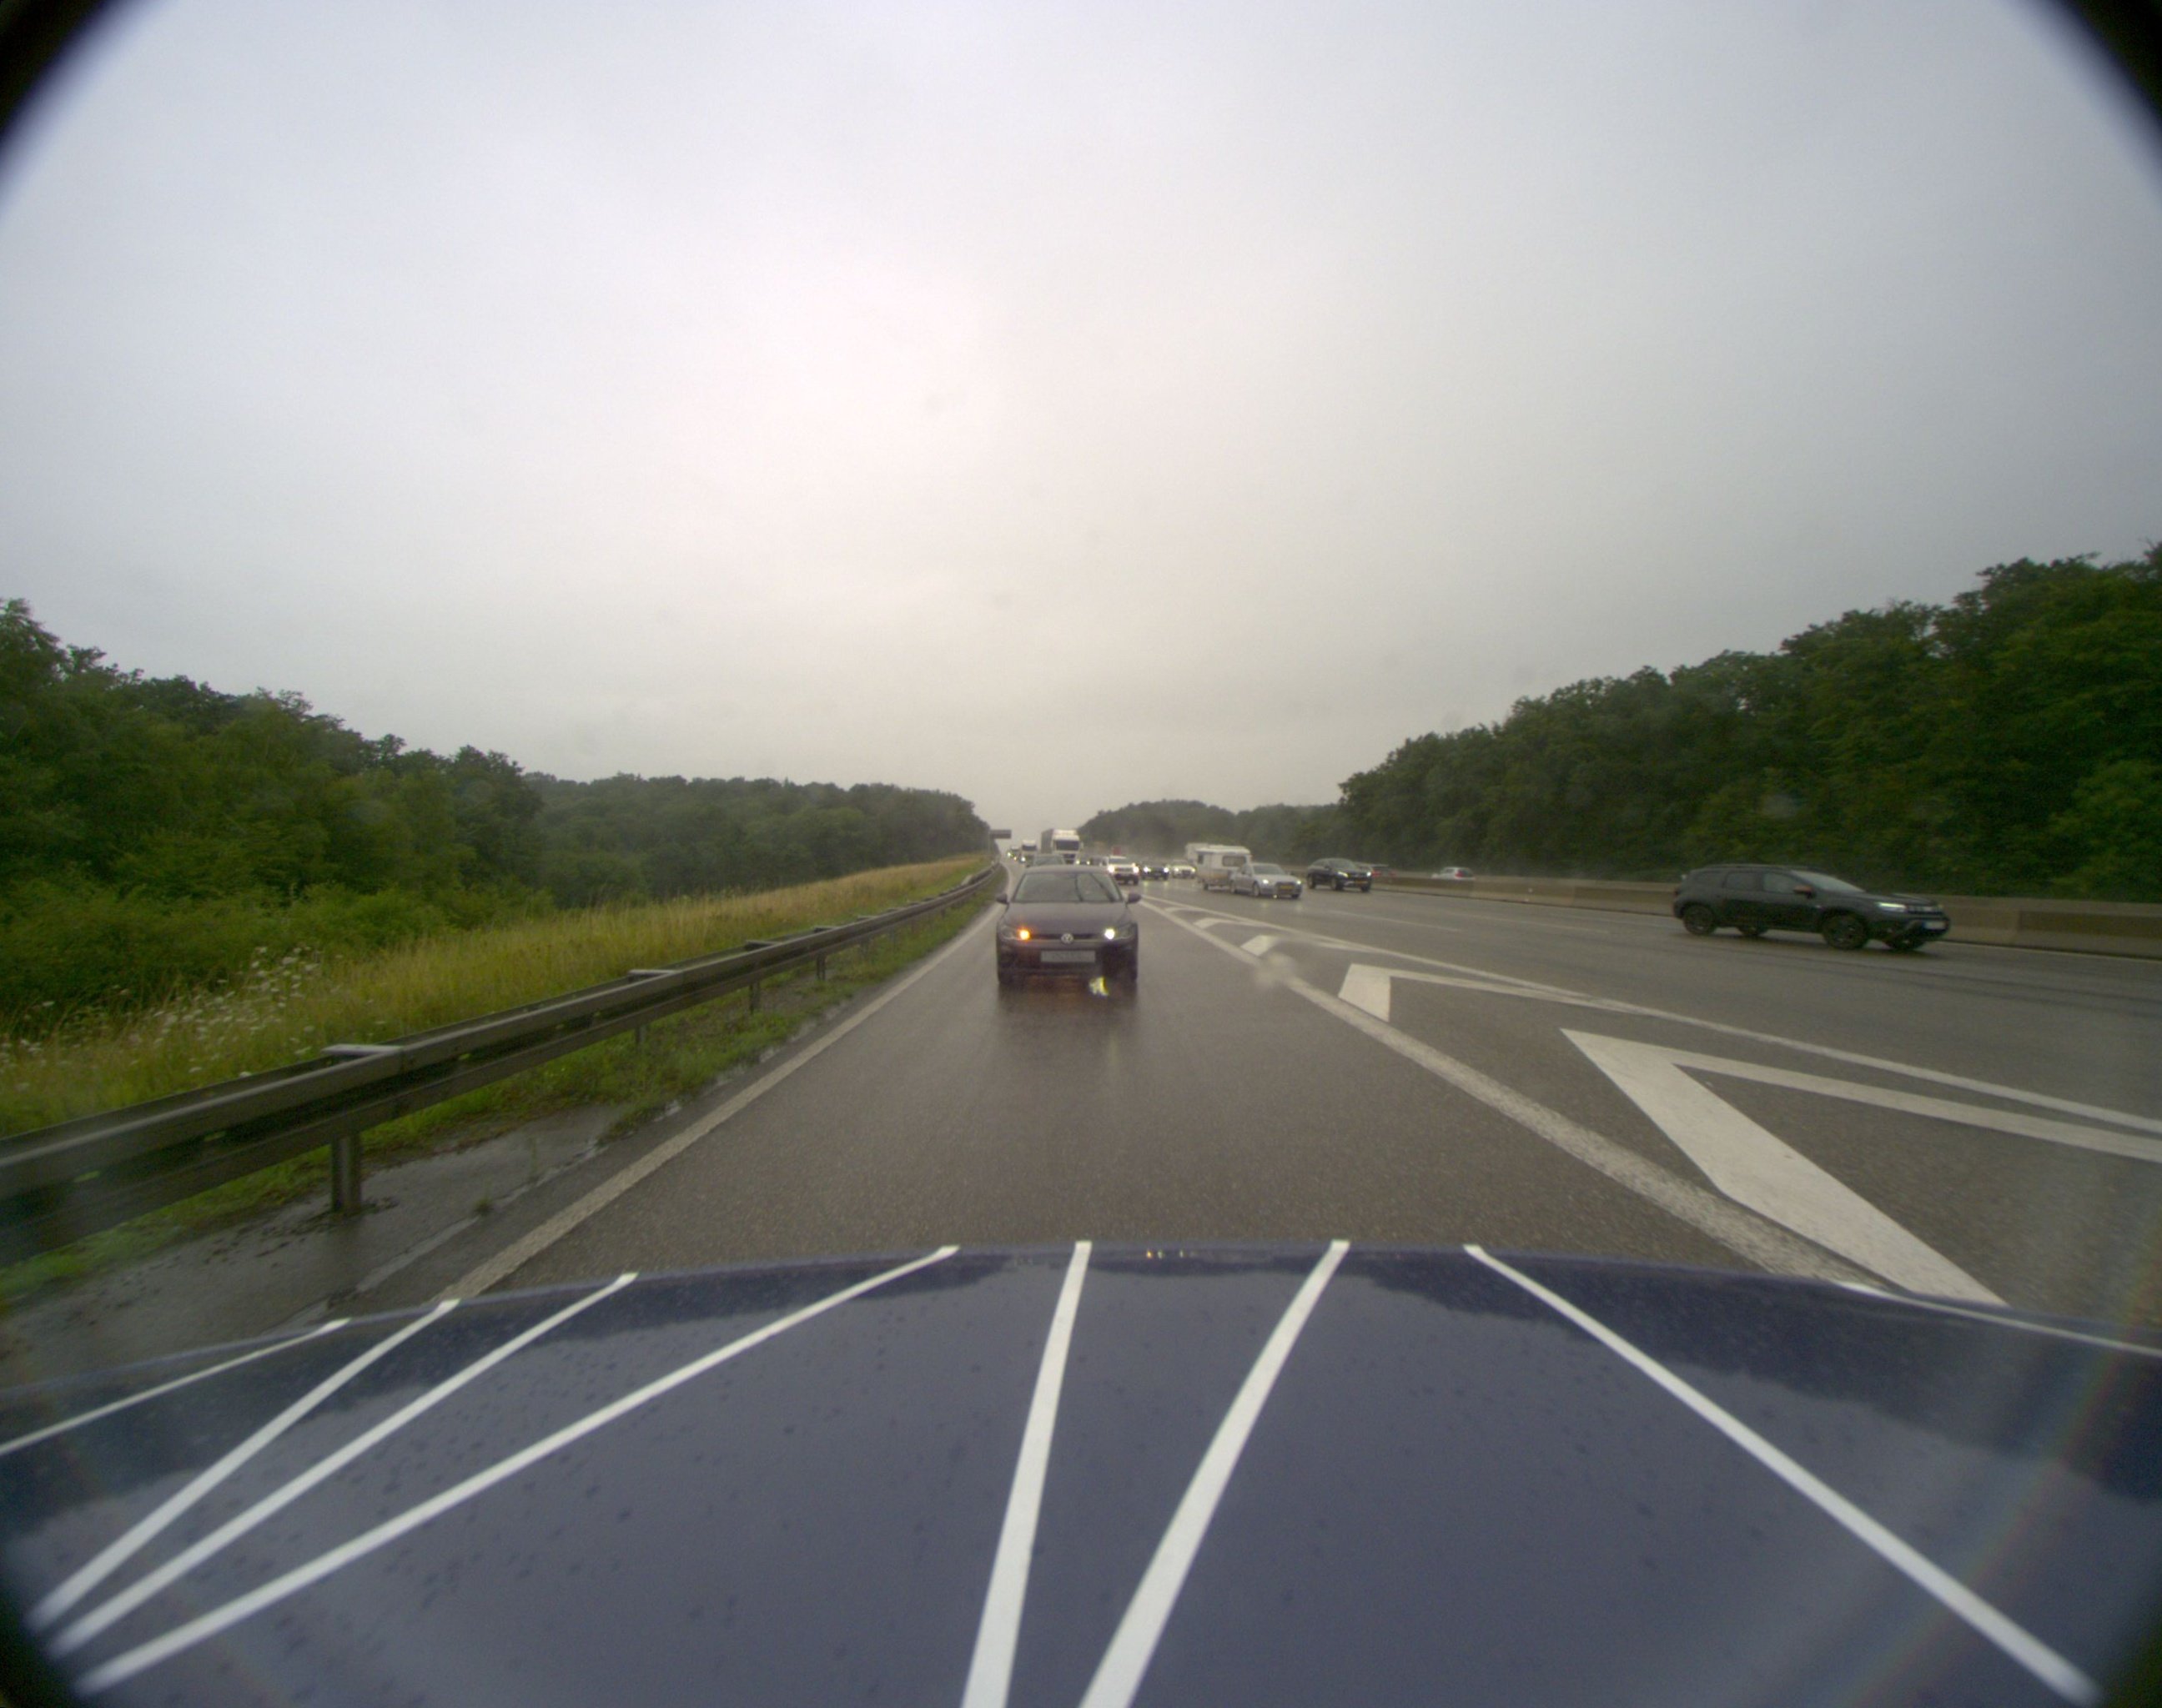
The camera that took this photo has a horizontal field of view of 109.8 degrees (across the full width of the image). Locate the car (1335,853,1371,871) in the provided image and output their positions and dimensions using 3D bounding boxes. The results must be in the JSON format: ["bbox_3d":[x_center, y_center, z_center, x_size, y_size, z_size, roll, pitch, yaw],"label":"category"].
[{"bbox_3d":[27.930,0.786,78.146,1.691,1.739,3.996,0,0,-10],"label":"car"}]

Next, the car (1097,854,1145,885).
[{"bbox_3d":[2.209,0.835,43.014,1.792,1.577,4.320,2,0,-9],"label":"car"}]

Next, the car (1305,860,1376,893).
[{"bbox_3d":[14.050,1.197,41.458,1.710,1.566,4.521,2,0,-9],"label":"car"}]

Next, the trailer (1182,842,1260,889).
[{"bbox_3d":[6.878,0.536,38.066,2.136,2.143,5.175,2,0,-9],"label":"trailer"}]

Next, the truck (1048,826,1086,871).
[{"bbox_3d":[-1.382,-0.511,72.738,2.882,4.029,5.930,1,0,-8],"label":"truck"}]

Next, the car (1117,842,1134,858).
[{"bbox_3d":[12.863,-1.108,222.738,3.657,4.633,7.564,1,0,-7],"label":"car"}]

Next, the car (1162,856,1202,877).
[{"bbox_3d":[7.917,0.957,60.002,1.886,1.472,4.499,1,0,-8],"label":"car"}]

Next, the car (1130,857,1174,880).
[{"bbox_3d":[4.941,0.980,53.643,1.887,1.472,4.497,1,0,-11],"label":"car"}]

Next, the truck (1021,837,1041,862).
[{"bbox_3d":[-8.584,-0.743,130.107,2.759,3.984,6.503,2,0,-9],"label":"truck"}]

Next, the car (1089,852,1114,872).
[{"bbox_3d":[1.996,0.776,75.578,2.000,2.002,3.997,1,0,-6],"label":"car"}]

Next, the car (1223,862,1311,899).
[{"bbox_3d":[7.633,1.045,31.699,1.852,1.340,4.578,2,0,-9],"label":"car"}]

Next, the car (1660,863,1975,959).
[{"bbox_3d":[15.184,1.077,16.091,1.932,1.653,4.454,2,0,-12],"label":"car"}]

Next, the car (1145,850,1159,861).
[{"bbox_3d":[14.085,0.287,151.437,1.999,2.002,4.663,0,0,-5],"label":"car"}]

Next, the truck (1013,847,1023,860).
[{"bbox_3d":[-20.356,-0.071,245.802,2.597,4.120,5.230,-2,0,-2],"label":"truck"}]

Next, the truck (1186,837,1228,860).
[{"bbox_3d":[21.800,-0.904,132.778,3.157,3.643,15.200,0,0,-6],"label":"truck"}]

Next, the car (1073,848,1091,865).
[{"bbox_3d":[0.099,0.270,92.989,1.816,2.002,3.998,1,0,-5],"label":"car"}]

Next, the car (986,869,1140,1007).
[{"bbox_3d":[-0.184,0.989,10.675,1.670,1.394,4.261,-3,0,0],"label":"car"}]

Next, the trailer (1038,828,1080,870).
[{"bbox_3d":[-2.511,-0.485,80.782,2.904,3.959,14.107,1,0,-8],"label":"trailer"}]

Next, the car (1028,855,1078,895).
[{"bbox_3d":[-1.167,0.873,33.514,1.810,1.532,4.000,-3,0,2],"label":"car"}]

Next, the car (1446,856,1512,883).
[{"bbox_3d":[27.438,1.014,52.576,2.000,1.740,3.996,-2,0,-10],"label":"car"}]
